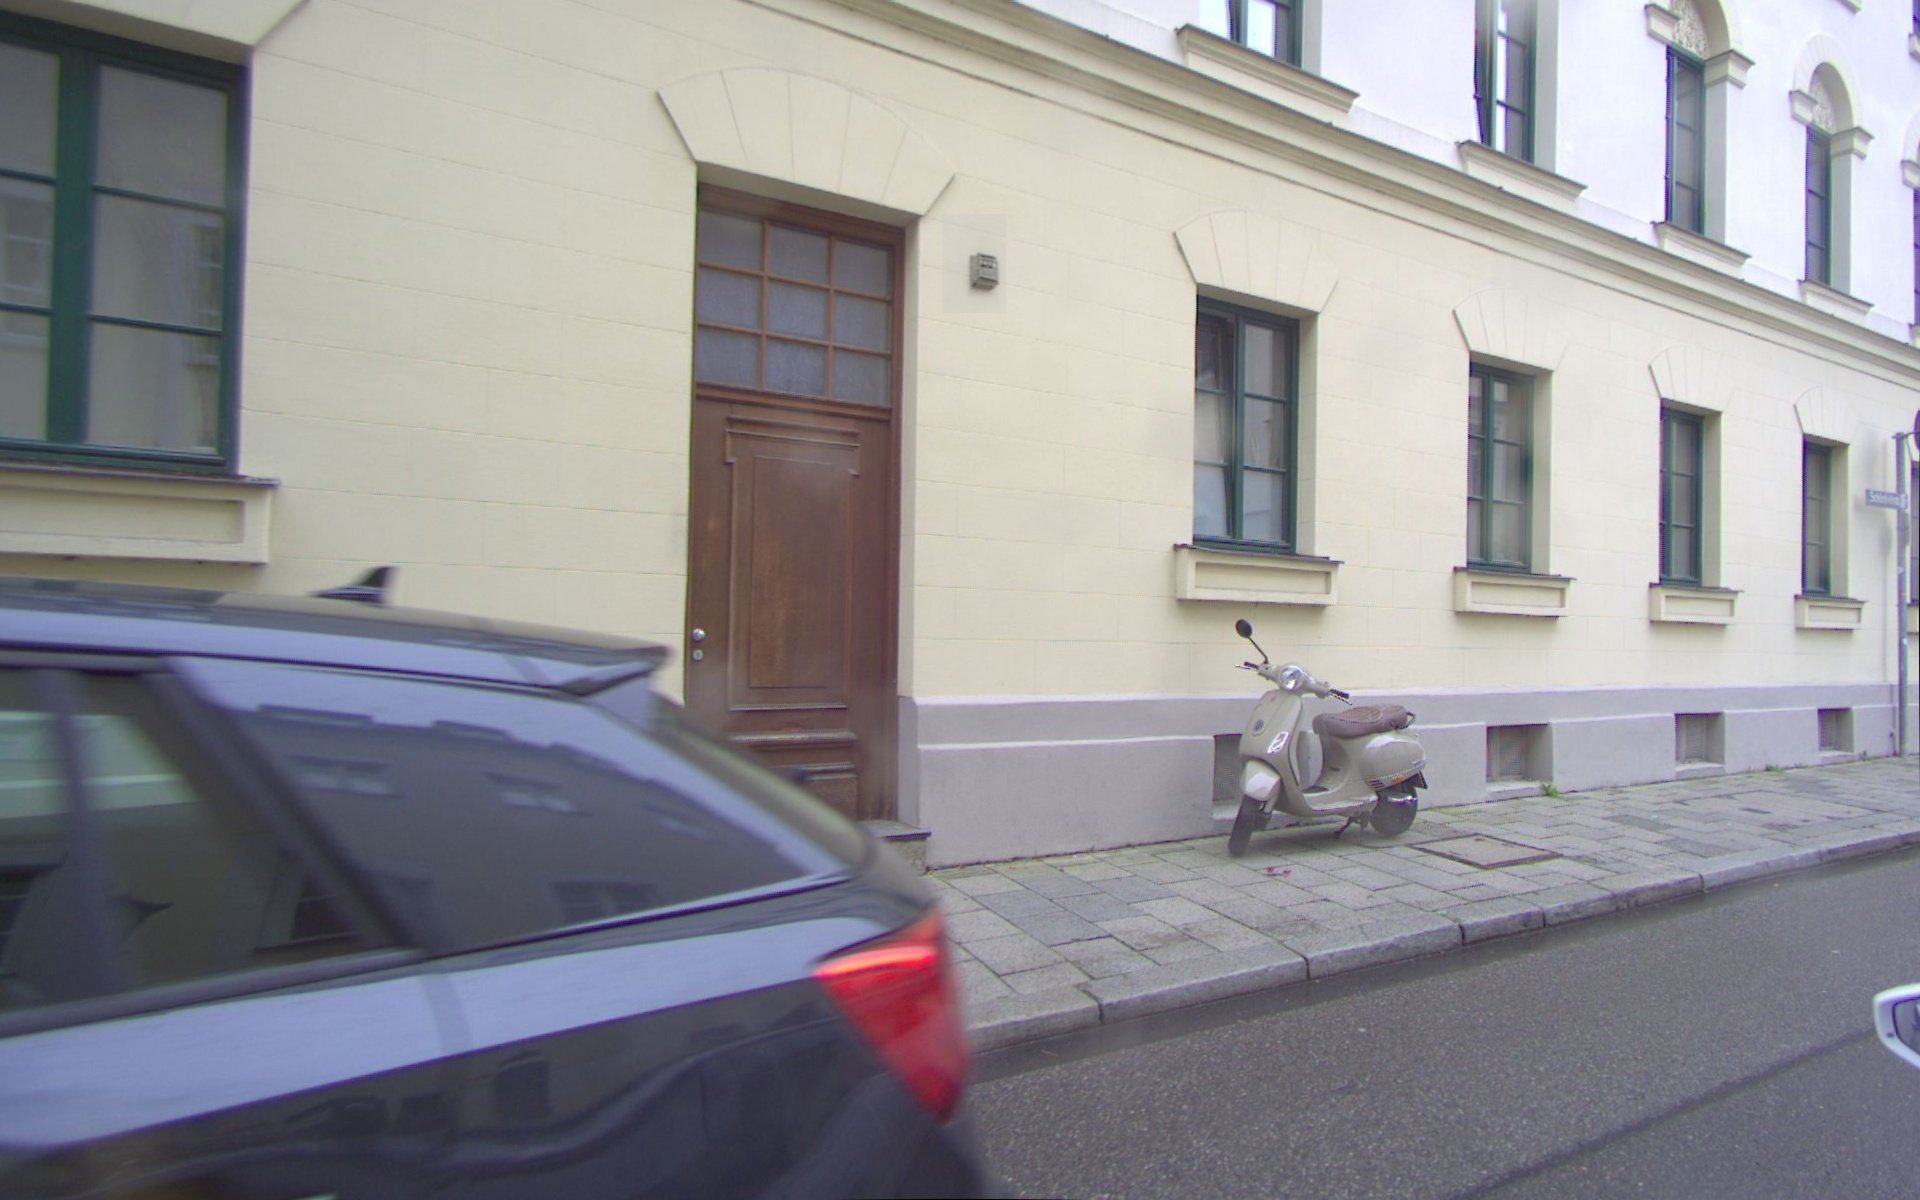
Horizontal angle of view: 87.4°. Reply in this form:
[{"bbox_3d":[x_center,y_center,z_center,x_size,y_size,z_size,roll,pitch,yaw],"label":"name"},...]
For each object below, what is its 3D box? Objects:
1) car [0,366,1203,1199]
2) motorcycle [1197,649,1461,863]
[{"bbox_3d":[-1.851,0.625,1.058,3.953,1.615,1.804,2,-1,-30],"label":"car"},{"bbox_3d":[2.361,0.923,6.377,1.687,1.189,0.599,2,0,-29],"label":"motorcycle"}]
